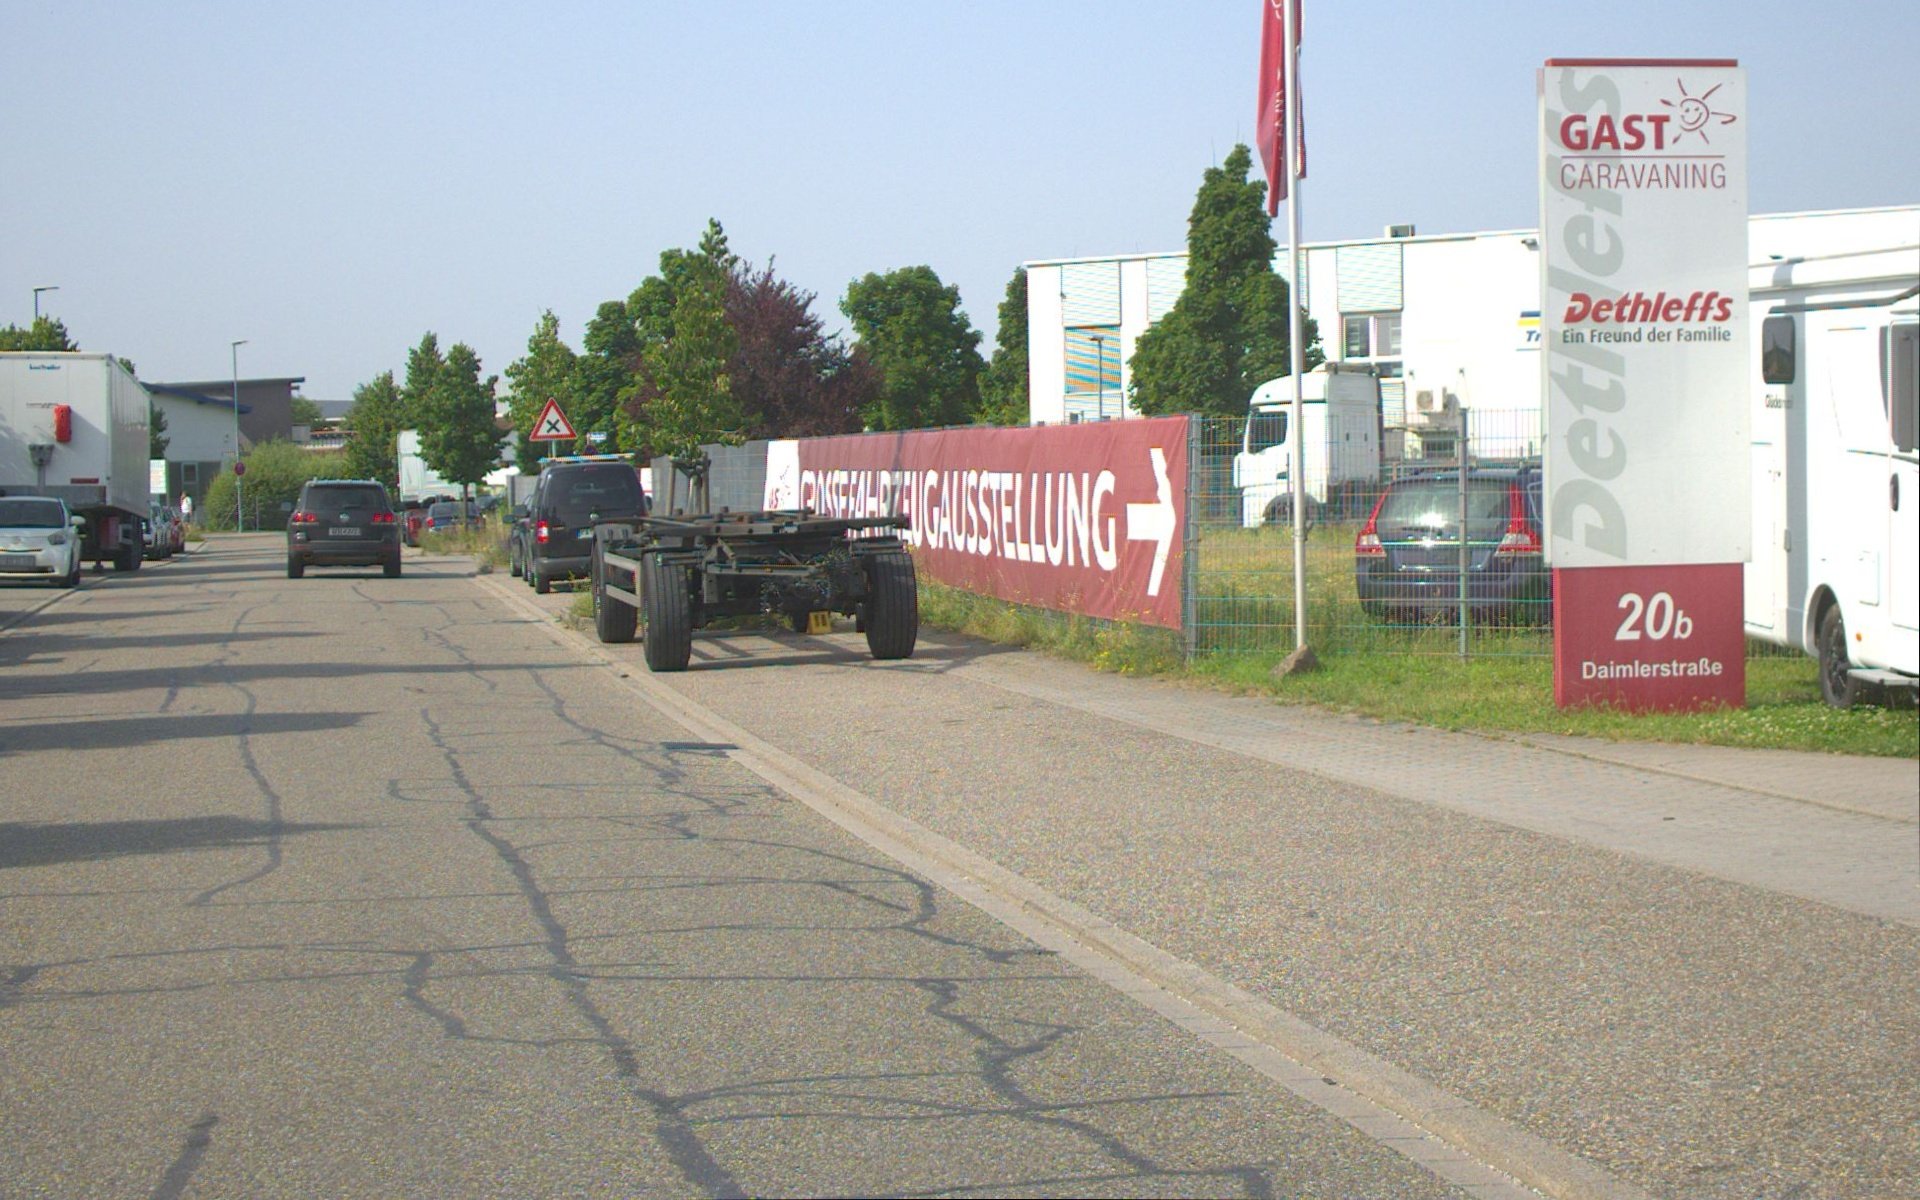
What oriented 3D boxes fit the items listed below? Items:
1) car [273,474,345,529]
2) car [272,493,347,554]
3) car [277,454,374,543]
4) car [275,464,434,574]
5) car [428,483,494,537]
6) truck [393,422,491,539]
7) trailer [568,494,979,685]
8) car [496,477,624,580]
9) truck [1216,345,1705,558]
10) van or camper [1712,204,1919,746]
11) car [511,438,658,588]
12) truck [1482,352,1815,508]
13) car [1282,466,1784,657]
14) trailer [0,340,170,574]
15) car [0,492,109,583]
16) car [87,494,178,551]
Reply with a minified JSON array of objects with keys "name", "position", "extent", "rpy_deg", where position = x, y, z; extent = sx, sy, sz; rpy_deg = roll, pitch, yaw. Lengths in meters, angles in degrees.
[{"name":"car","position":[-21.850,-3.317,115.499],"extent":[1.993,1.765,4.001],"rpy_deg":[-1,2,-6]},{"name":"car","position":[-18.274,-2.167,96.575],"extent":[1.993,1.634,4.001],"rpy_deg":[-1,2,-11]},{"name":"car","position":[-14.530,-2.363,78.853],"extent":[1.993,1.892,4.469],"rpy_deg":[0,4,-8]},{"name":"car","position":[-10.416,-1.421,59.353],"extent":[1.993,1.798,4.000],"rpy_deg":[1,2,0]},{"name":"car","position":[-14.669,-2.661,100.989],"extent":[1.818,1.444,3.802],"rpy_deg":[-2,3,-9]},{"name":"truck","position":[-16.816,-3.878,111.449],"extent":[2.886,3.573,8.064],"rpy_deg":[-2,2,-9]},{"name":"trailer","position":[-2.042,-0.237,32.743],"extent":[2.622,1.383,9.458],"rpy_deg":[-3,3,-10]},{"name":"car","position":[-6.514,-1.188,55.704],"extent":[1.818,1.444,3.802],"rpy_deg":[-5,3,-9]},{"name":"truck","position":[9.726,-2.866,67.487],"extent":[9.301,3.958,2.454],"rpy_deg":[1,3,33]},{"name":"van or camper","position":[6.322,-0.718,19.375],"extent":[2.330,2.933,6.973],"rpy_deg":[-1,2,-3]},{"name":"car","position":[-5.513,-1.299,50.127],"extent":[1.818,1.971,4.001],"rpy_deg":[-5,3,-9]},{"name":"truck","position":[11.796,-2.866,58.246],"extent":[2.455,2.462,7.986],"rpy_deg":[1,3,36]},{"name":"car","position":[4.962,-0.375,29.562],"extent":[3.989,1.471,2.172],"rpy_deg":[-3,3,-40]},{"name":"trailer","position":[-18.450,-2.886,70.899],"extent":[3.403,4.325,13.924],"rpy_deg":[-1,2,-10]},{"name":"car","position":[-15.240,-1.061,57.030],"extent":[1.810,1.422,4.001],"rpy_deg":[-1,2,-9]},{"name":"car","position":[-23.104,-2.195,96.136],"extent":[1.993,1.517,4.001],"rpy_deg":[-1,2,-7]}]
